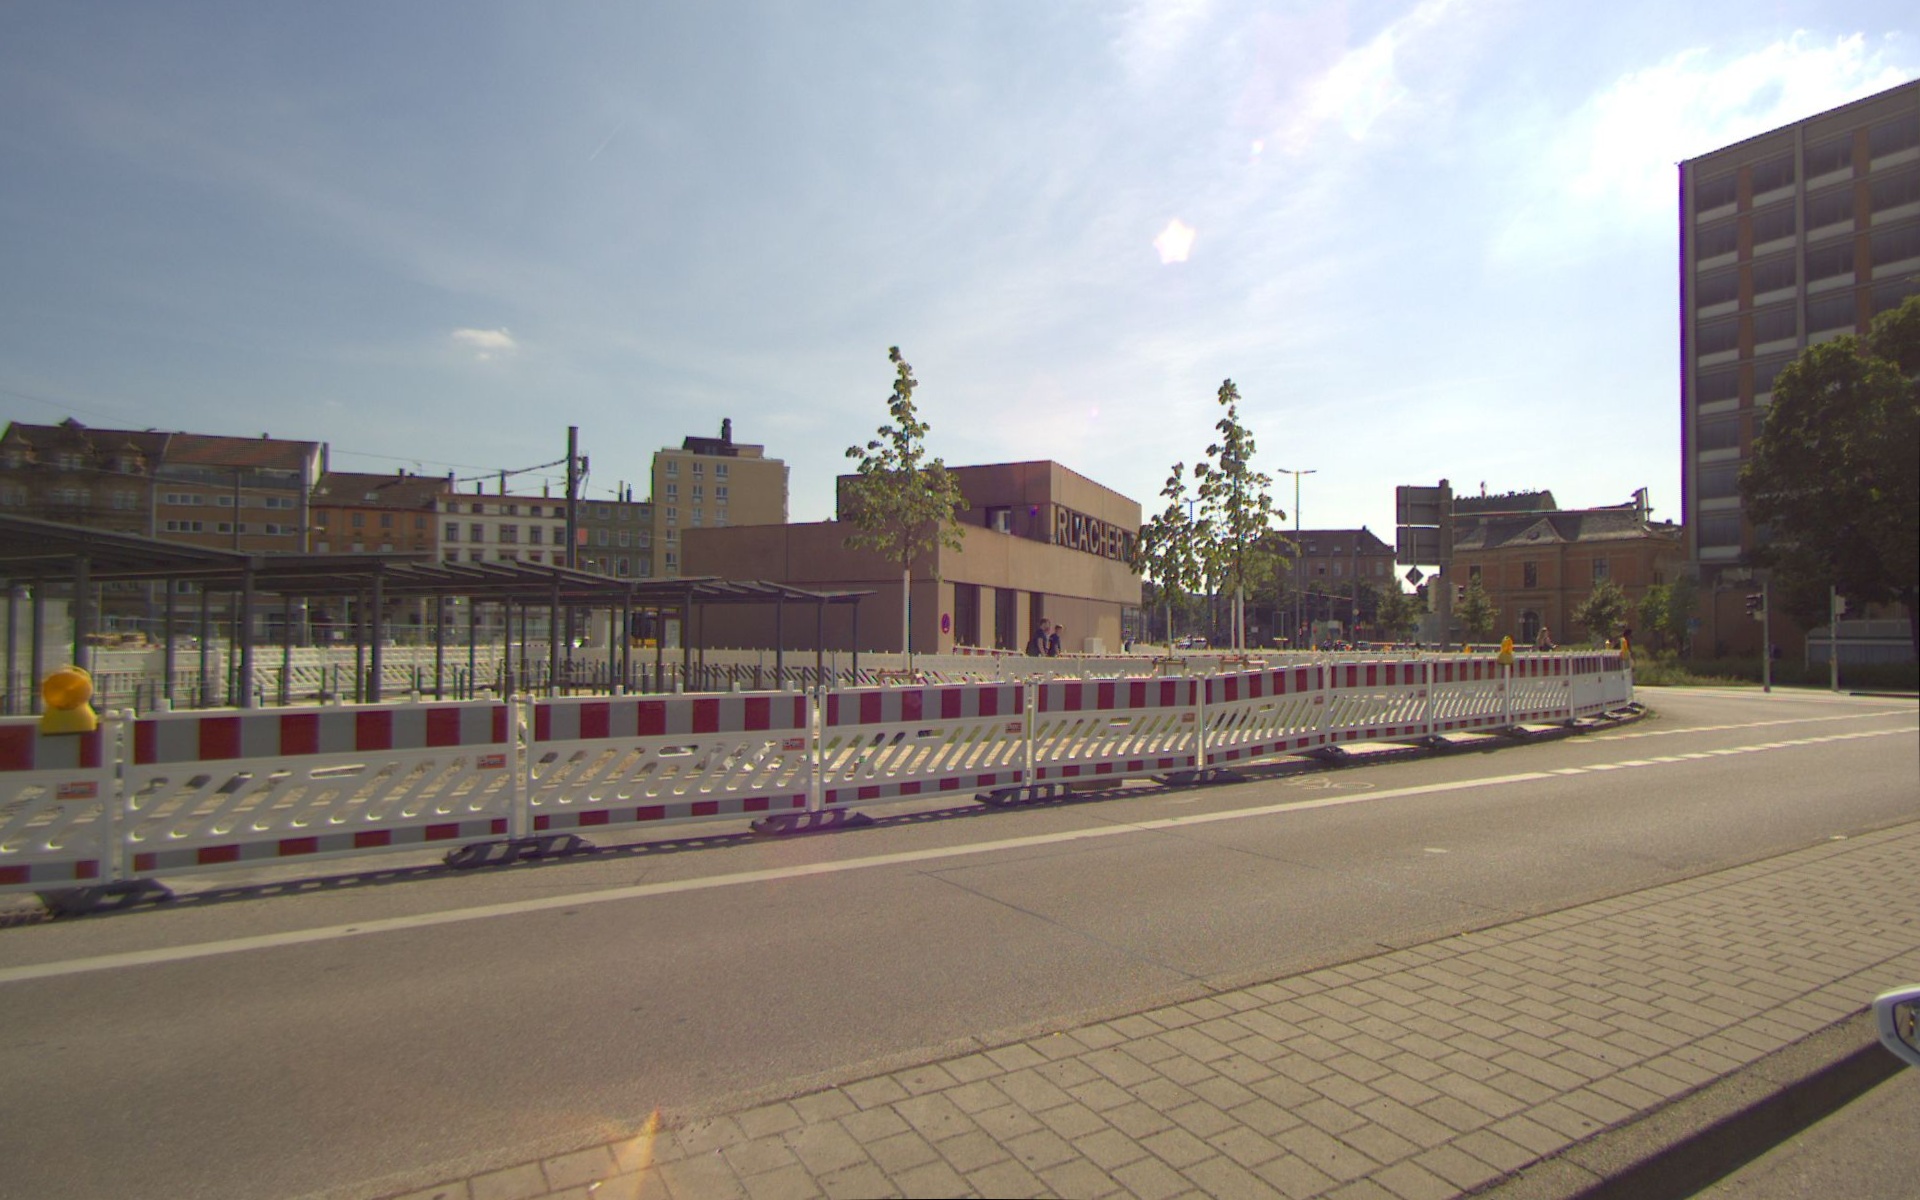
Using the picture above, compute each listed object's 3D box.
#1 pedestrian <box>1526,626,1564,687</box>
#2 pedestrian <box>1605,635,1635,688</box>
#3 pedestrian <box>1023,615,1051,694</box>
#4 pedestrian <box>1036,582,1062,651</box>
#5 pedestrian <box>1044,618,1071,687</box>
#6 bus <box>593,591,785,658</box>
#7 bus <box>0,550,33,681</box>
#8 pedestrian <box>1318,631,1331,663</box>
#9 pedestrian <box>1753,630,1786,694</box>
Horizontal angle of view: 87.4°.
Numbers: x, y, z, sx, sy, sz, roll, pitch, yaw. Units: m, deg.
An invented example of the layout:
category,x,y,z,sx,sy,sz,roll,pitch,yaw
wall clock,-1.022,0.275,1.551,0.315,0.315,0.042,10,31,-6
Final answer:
category,x,y,z,sx,sy,sz,roll,pitch,yaw
pedestrian,17.524,1.697,30.078,0.728,1.775,1.104,-2,-5,44
pedestrian,19.346,1.795,29.451,0.624,1.511,0.613,-2,-3,44
pedestrian,1.929,1.364,25.227,0.595,1.940,0.441,0,-2,-9
pedestrian,2.338,0.438,26.431,0.559,1.801,0.544,0,-2,-9
pedestrian,2.496,1.347,25.762,0.559,1.731,0.539,0,-2,-9
bus,-14.551,1.431,55.701,2.808,3.324,12.650,-1,-2,25
bus,-29.622,0.267,22.654,2.808,3.535,12.650,-1,-2,25
pedestrian,23.467,3.001,64.662,0.514,2.040,0.626,1,-2,-16
pedestrian,26.264,2.000,32.592,0.604,2.040,0.687,2,0,23
